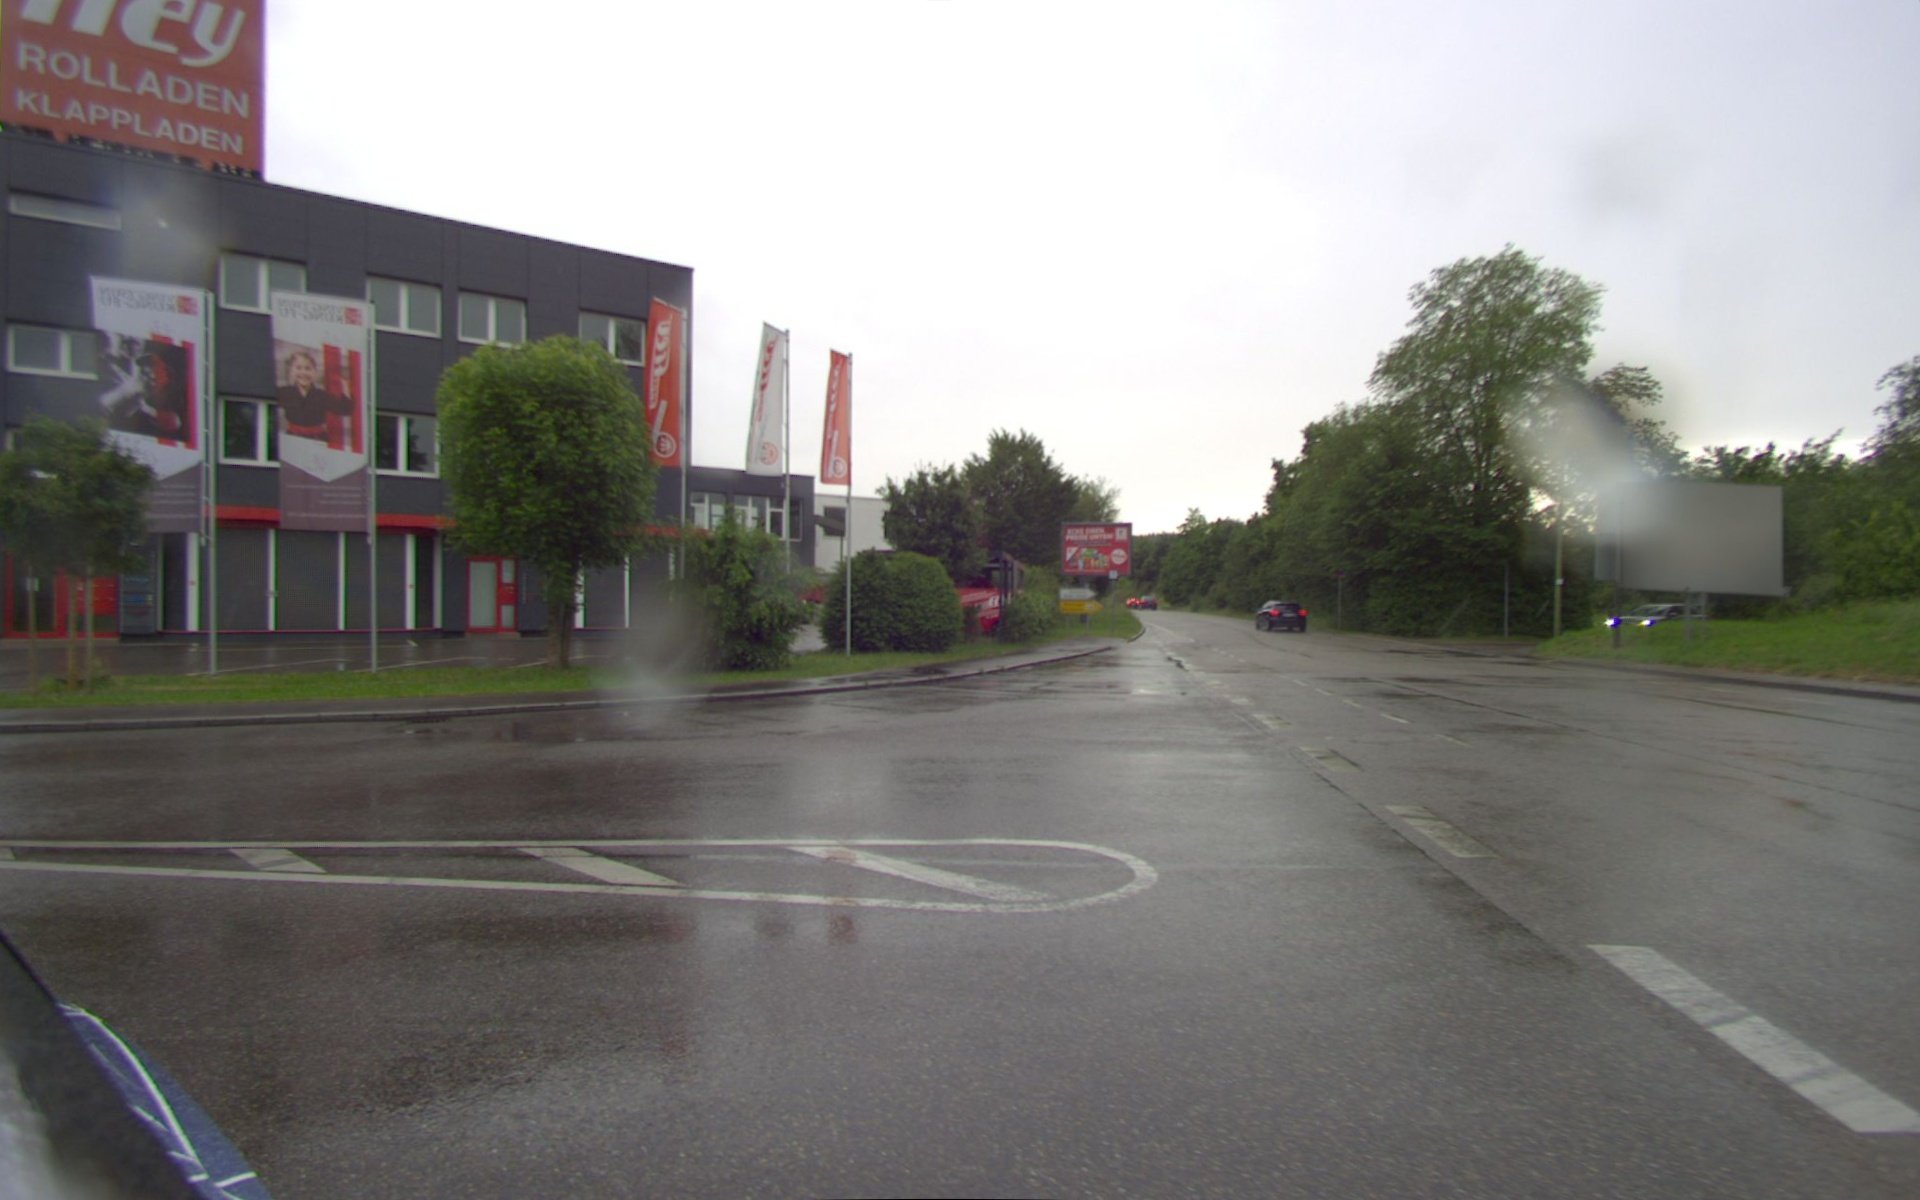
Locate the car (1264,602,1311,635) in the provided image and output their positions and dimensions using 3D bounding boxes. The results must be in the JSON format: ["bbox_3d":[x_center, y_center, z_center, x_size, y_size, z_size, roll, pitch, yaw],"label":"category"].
[{"bbox_3d":[15.509,0.868,48.135,1.818,1.535,3.982,0,-1,14],"label":"car"}]

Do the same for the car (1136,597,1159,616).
[{"bbox_3d":[21.149,0.706,114.288,1.974,2.029,3.996,0,1,4],"label":"car"}]

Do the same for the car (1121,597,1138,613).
[{"bbox_3d":[22.192,0.694,132.761,1.786,2.029,3.996,0,1,4],"label":"car"}]

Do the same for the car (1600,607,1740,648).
[{"bbox_3d":[26.840,1.033,38.345,4.058,1.501,1.859,0,-1,-5],"label":"car"}]

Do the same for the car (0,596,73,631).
[{"bbox_3d":[-38.448,0.542,40.437,1.995,1.397,4.147,-1,-1,34],"label":"car"}]
